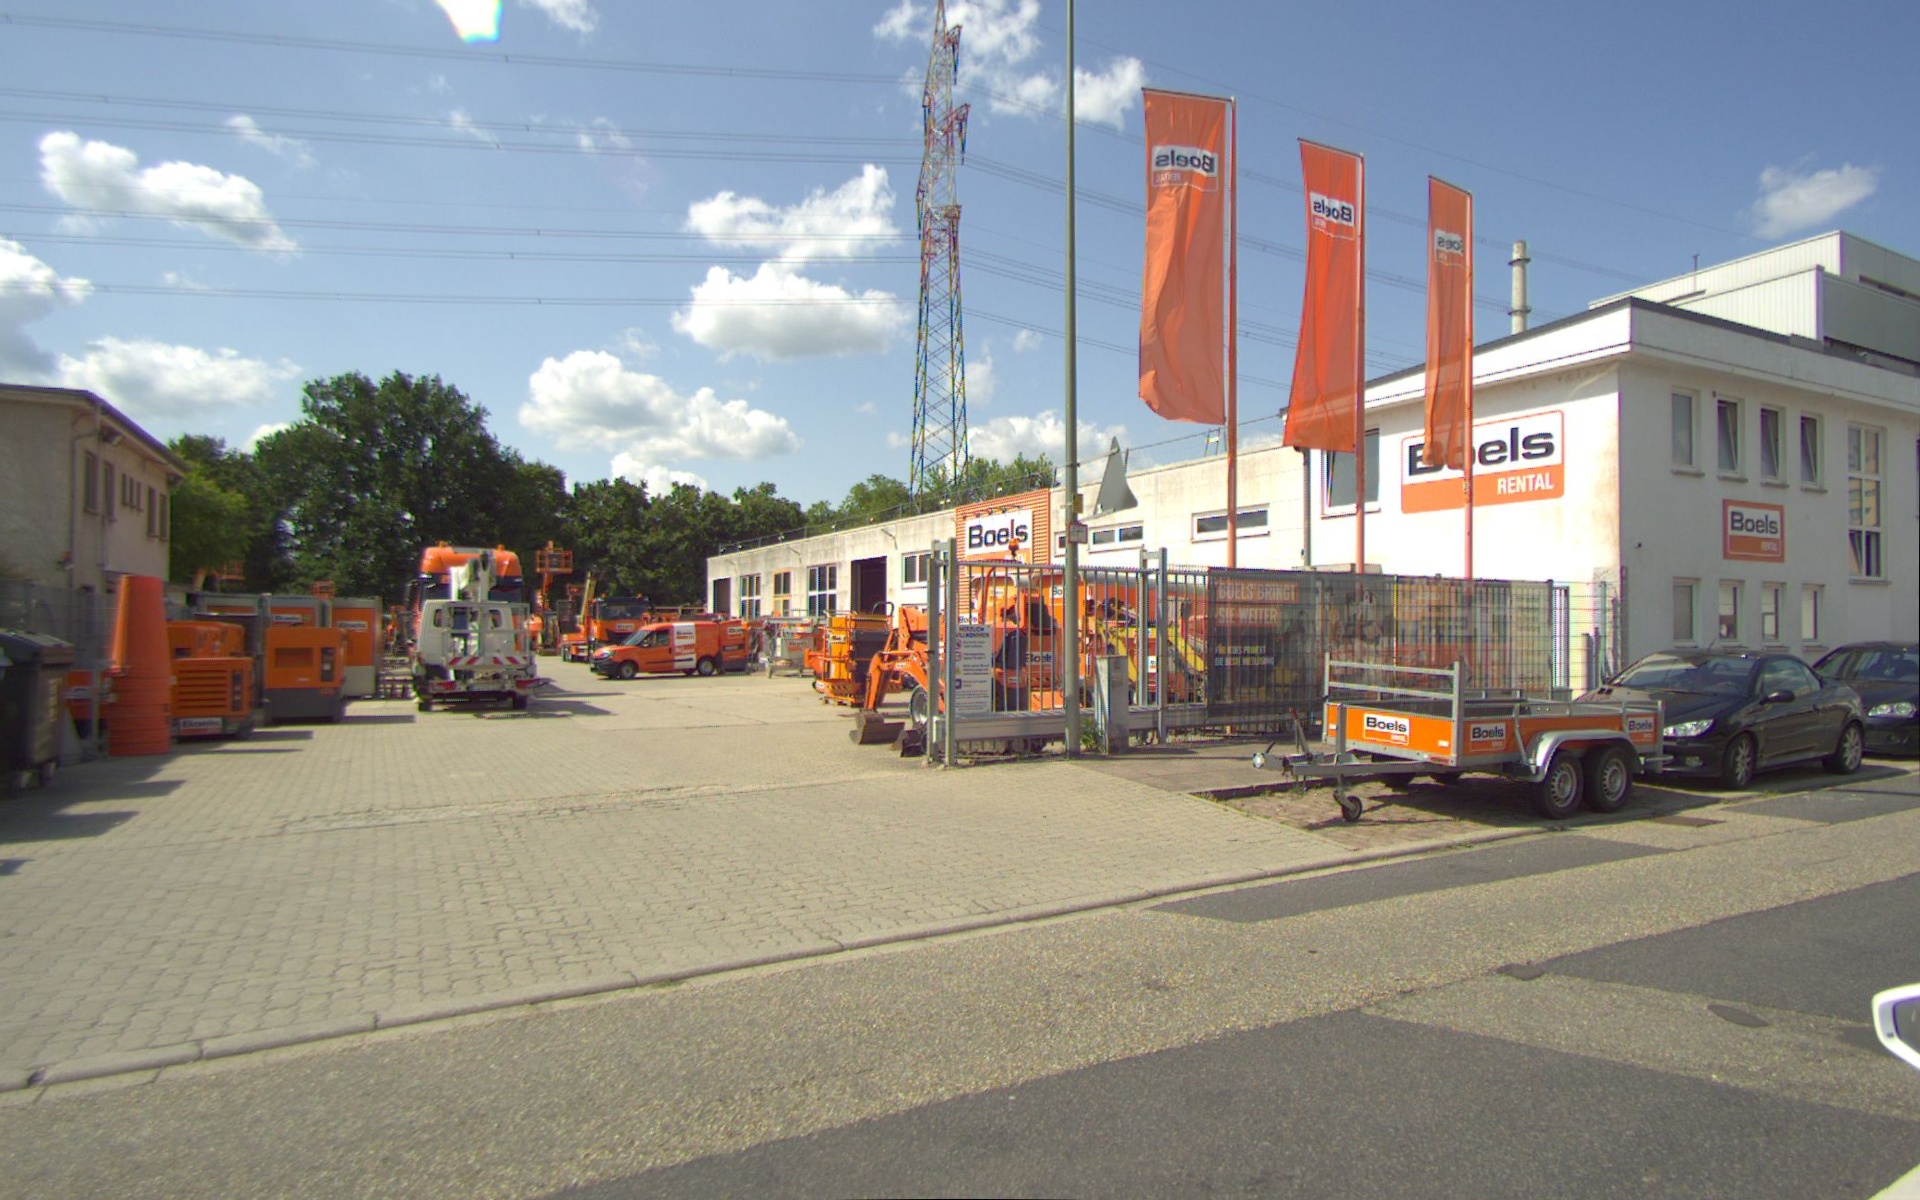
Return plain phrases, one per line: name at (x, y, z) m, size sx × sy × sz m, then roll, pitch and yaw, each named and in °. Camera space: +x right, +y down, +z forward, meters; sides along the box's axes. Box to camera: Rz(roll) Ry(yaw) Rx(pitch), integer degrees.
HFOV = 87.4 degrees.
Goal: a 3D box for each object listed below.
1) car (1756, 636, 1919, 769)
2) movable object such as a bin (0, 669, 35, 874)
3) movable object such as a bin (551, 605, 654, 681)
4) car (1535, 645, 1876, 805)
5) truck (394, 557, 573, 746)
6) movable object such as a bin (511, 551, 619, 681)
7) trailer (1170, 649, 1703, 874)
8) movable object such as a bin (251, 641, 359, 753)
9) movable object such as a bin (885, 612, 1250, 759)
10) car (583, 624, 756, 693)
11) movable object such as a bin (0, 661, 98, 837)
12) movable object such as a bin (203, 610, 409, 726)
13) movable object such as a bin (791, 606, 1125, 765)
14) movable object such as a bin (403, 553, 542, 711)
car at (12.676, 1.263, 13.525) m, size 4.174 × 1.475 × 1.665 m, roll 1°, pitch 0°, yaw -30°
movable object such as a bin at (-7.504, 1.242, 7.104) m, size 1.176 × 1.446 × 1.308 m, roll 1°, pitch -2°, yaw -33°
movable object such as a bin at (-17.216, 2.036, 47.724) m, size 2.512 × 3.203 × 11.413 m, roll 0°, pitch -2°, yaw -30°
car at (8.308, 1.247, 11.134) m, size 3.838 × 1.395 × 1.665 m, roll 1°, pitch 0°, yaw -30°
truck at (-9.634, 0.989, 20.012) m, size 2.471 × 3.185 × 5.526 m, roll 1°, pitch -2°, yaw -33°
movable object such as a bin at (-24.731, 1.130, 62.347) m, size 4.444 × 7.255 × 12.026 m, roll 0°, pitch -2°, yaw -31°
trailer at (4.340, 1.199, 8.874) m, size 4.991 × 1.395 × 1.759 m, roll 1°, pitch 0°, yaw -30°
movable object such as a bin at (-11.629, 1.621, 17.972) m, size 1.450 × 1.750 × 3.966 m, roll 1°, pitch -2°, yaw -32°
movable object such as a bin at (1.406, 1.236, 17.533) m, size 1.886 × 2.031 × 7.549 m, roll 0°, pitch -1°, yaw -35°
car at (-9.953, 1.959, 34.605) m, size 5.392 × 2.193 × 1.981 m, roll 1°, pitch -2°, yaw -35°
movable object such as a bin at (-8.530, 1.289, 8.916) m, size 1.139 × 1.446 × 1.308 m, roll 1°, pitch -2°, yaw -33°
movable object such as a bin at (-16.186, 1.604, 25.106) m, size 4.004 × 2.570 × 3.965 m, roll 1°, pitch -2°, yaw -33°
movable object such as a bin at (-0.403, 1.136, 16.213) m, size 1.886 × 2.031 × 6.816 m, roll 0°, pitch -1°, yaw -35°
movable object such as a bin at (-12.920, 0.848, 26.481) m, size 2.887 × 3.784 × 3.965 m, roll 1°, pitch -2°, yaw -32°
